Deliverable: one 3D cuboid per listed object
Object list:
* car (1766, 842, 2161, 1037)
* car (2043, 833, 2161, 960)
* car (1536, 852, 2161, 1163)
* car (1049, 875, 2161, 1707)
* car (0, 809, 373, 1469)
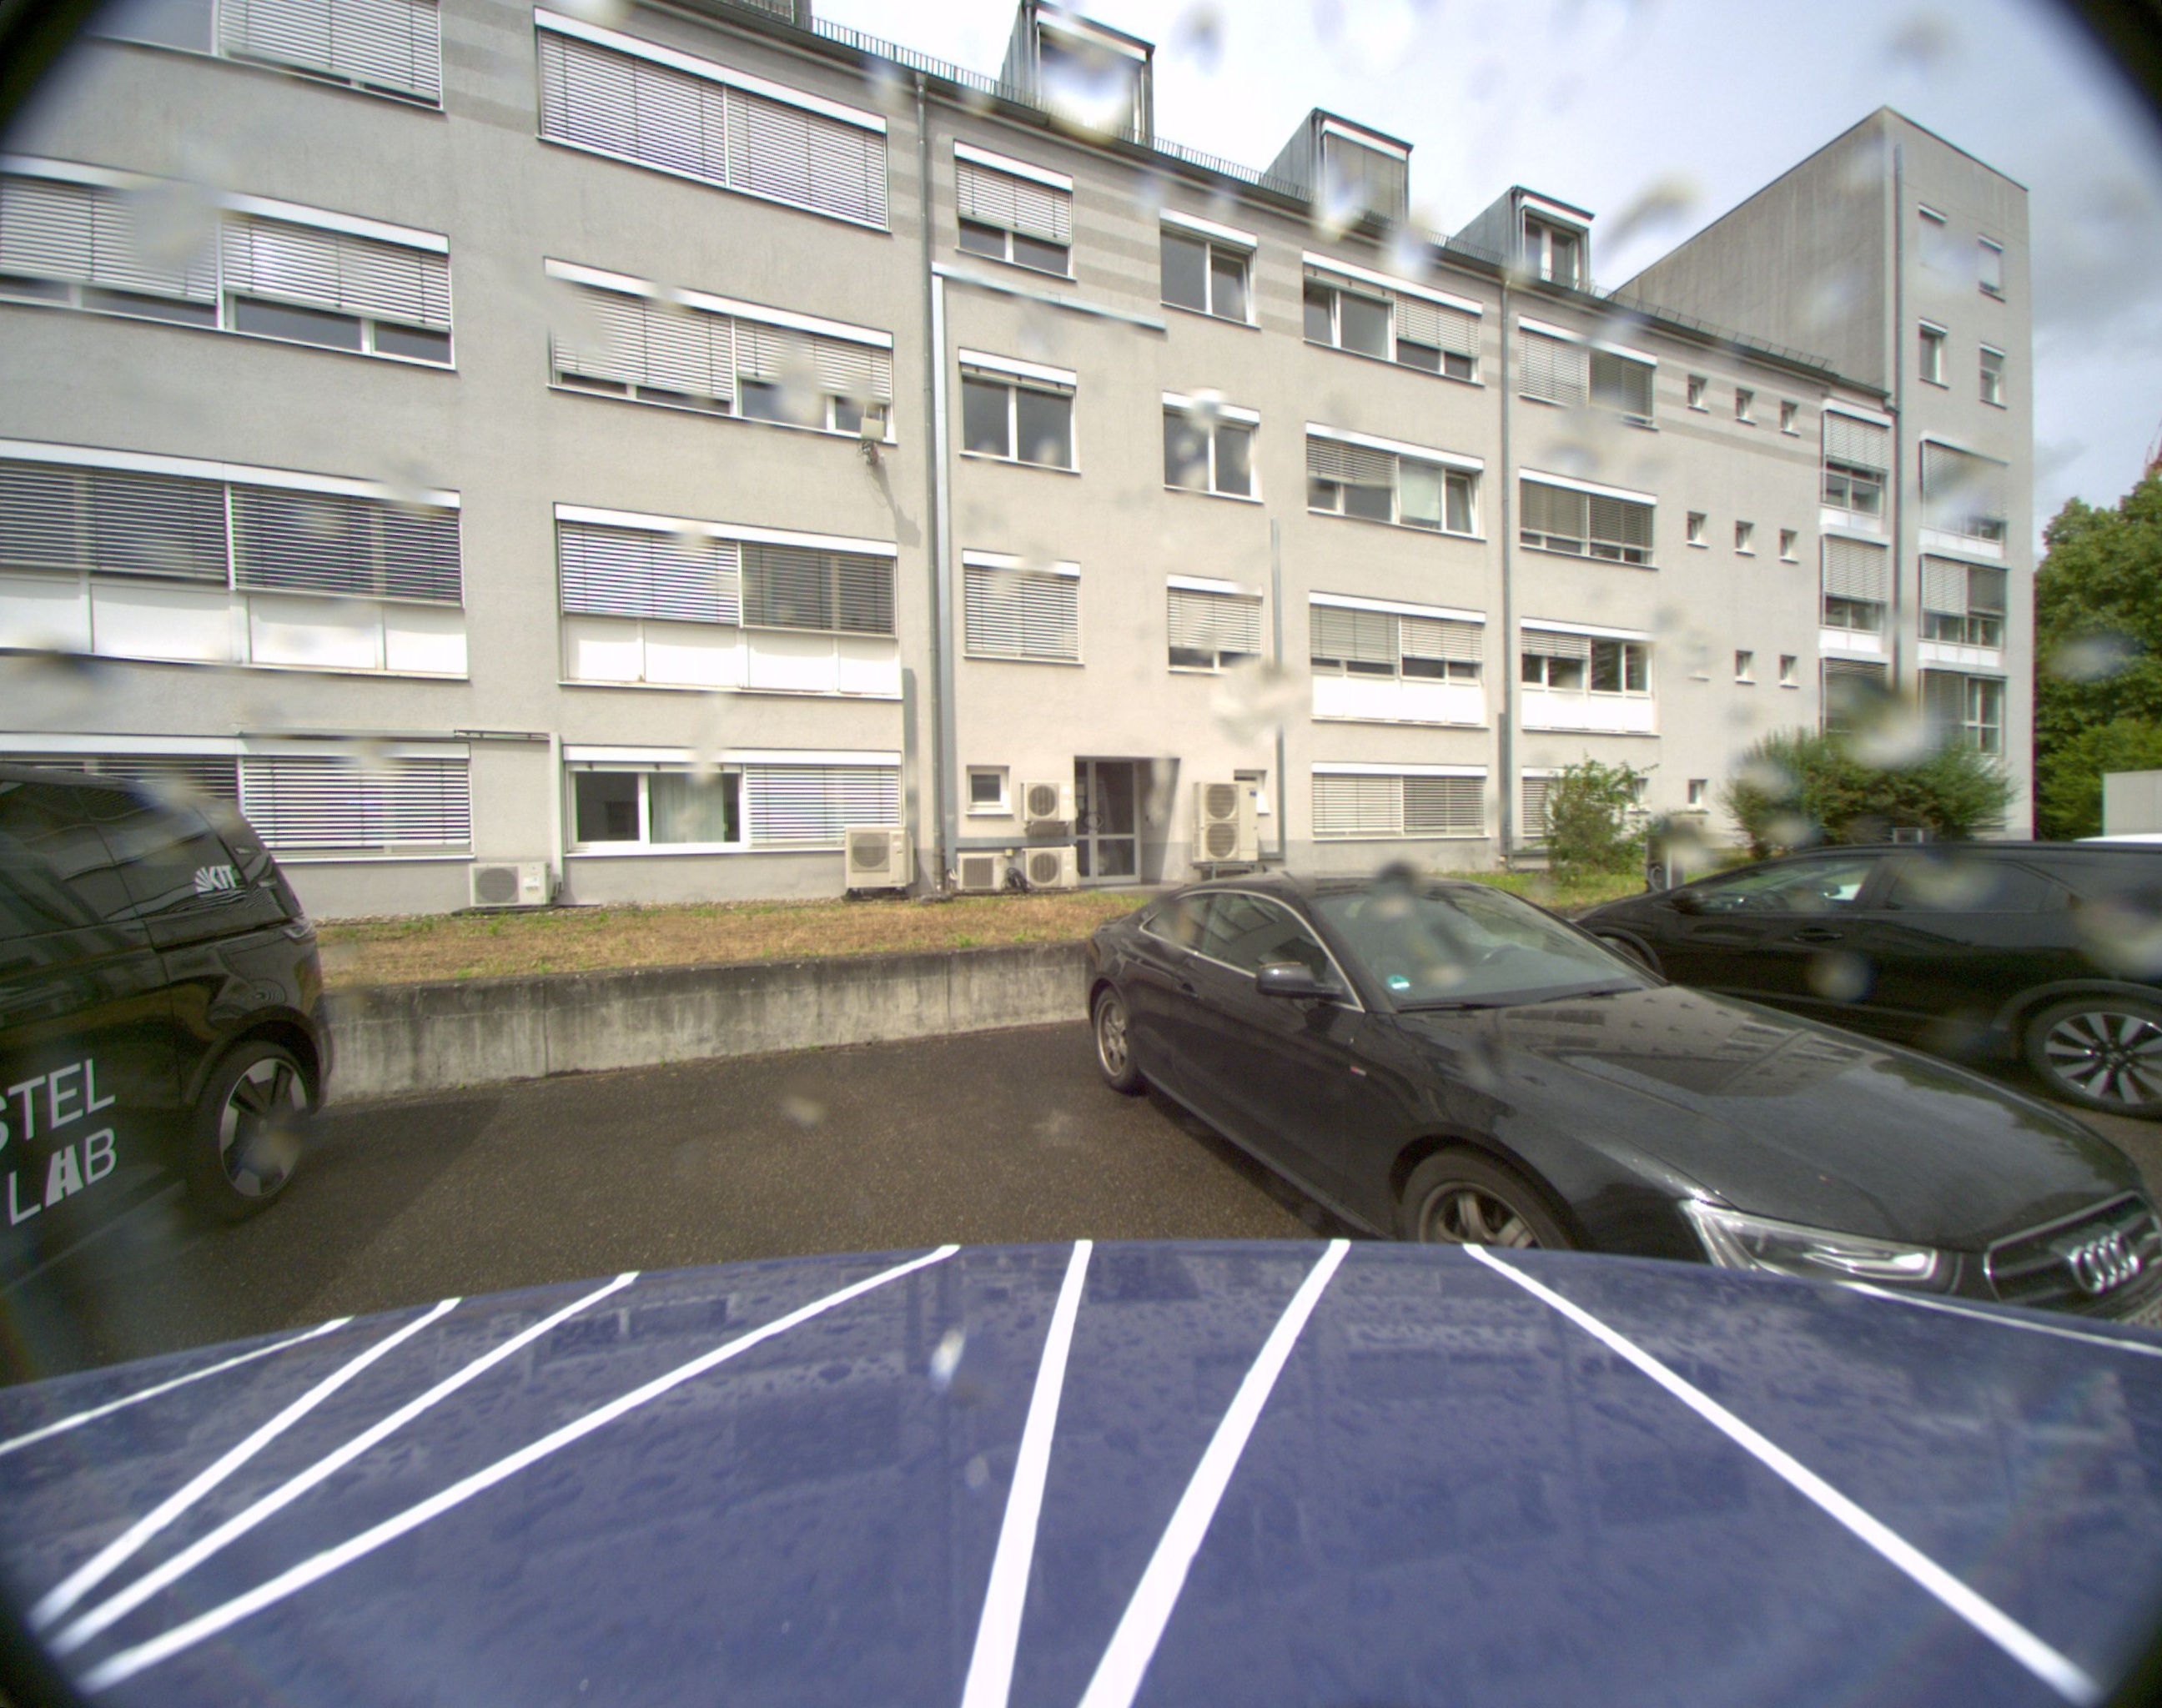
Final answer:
[{"bbox_3d":[8.902,0.648,6.566,1.698,1.434,4.117,-2,2,-19],"label":"car"},{"bbox_3d":[13.830,0.513,7.952,1.765,1.434,4.307,-2,2,-21],"label":"car"},{"bbox_3d":[5.750,0.769,5.254,1.765,1.434,4.307,-2,2,-21],"label":"car"},{"bbox_3d":[1.393,0.915,3.553,1.764,1.344,4.520,-2,2,-20],"label":"car"},{"bbox_3d":[-3.859,0.834,1.457,1.972,1.854,4.738,-2,2,-21],"label":"car"}]
